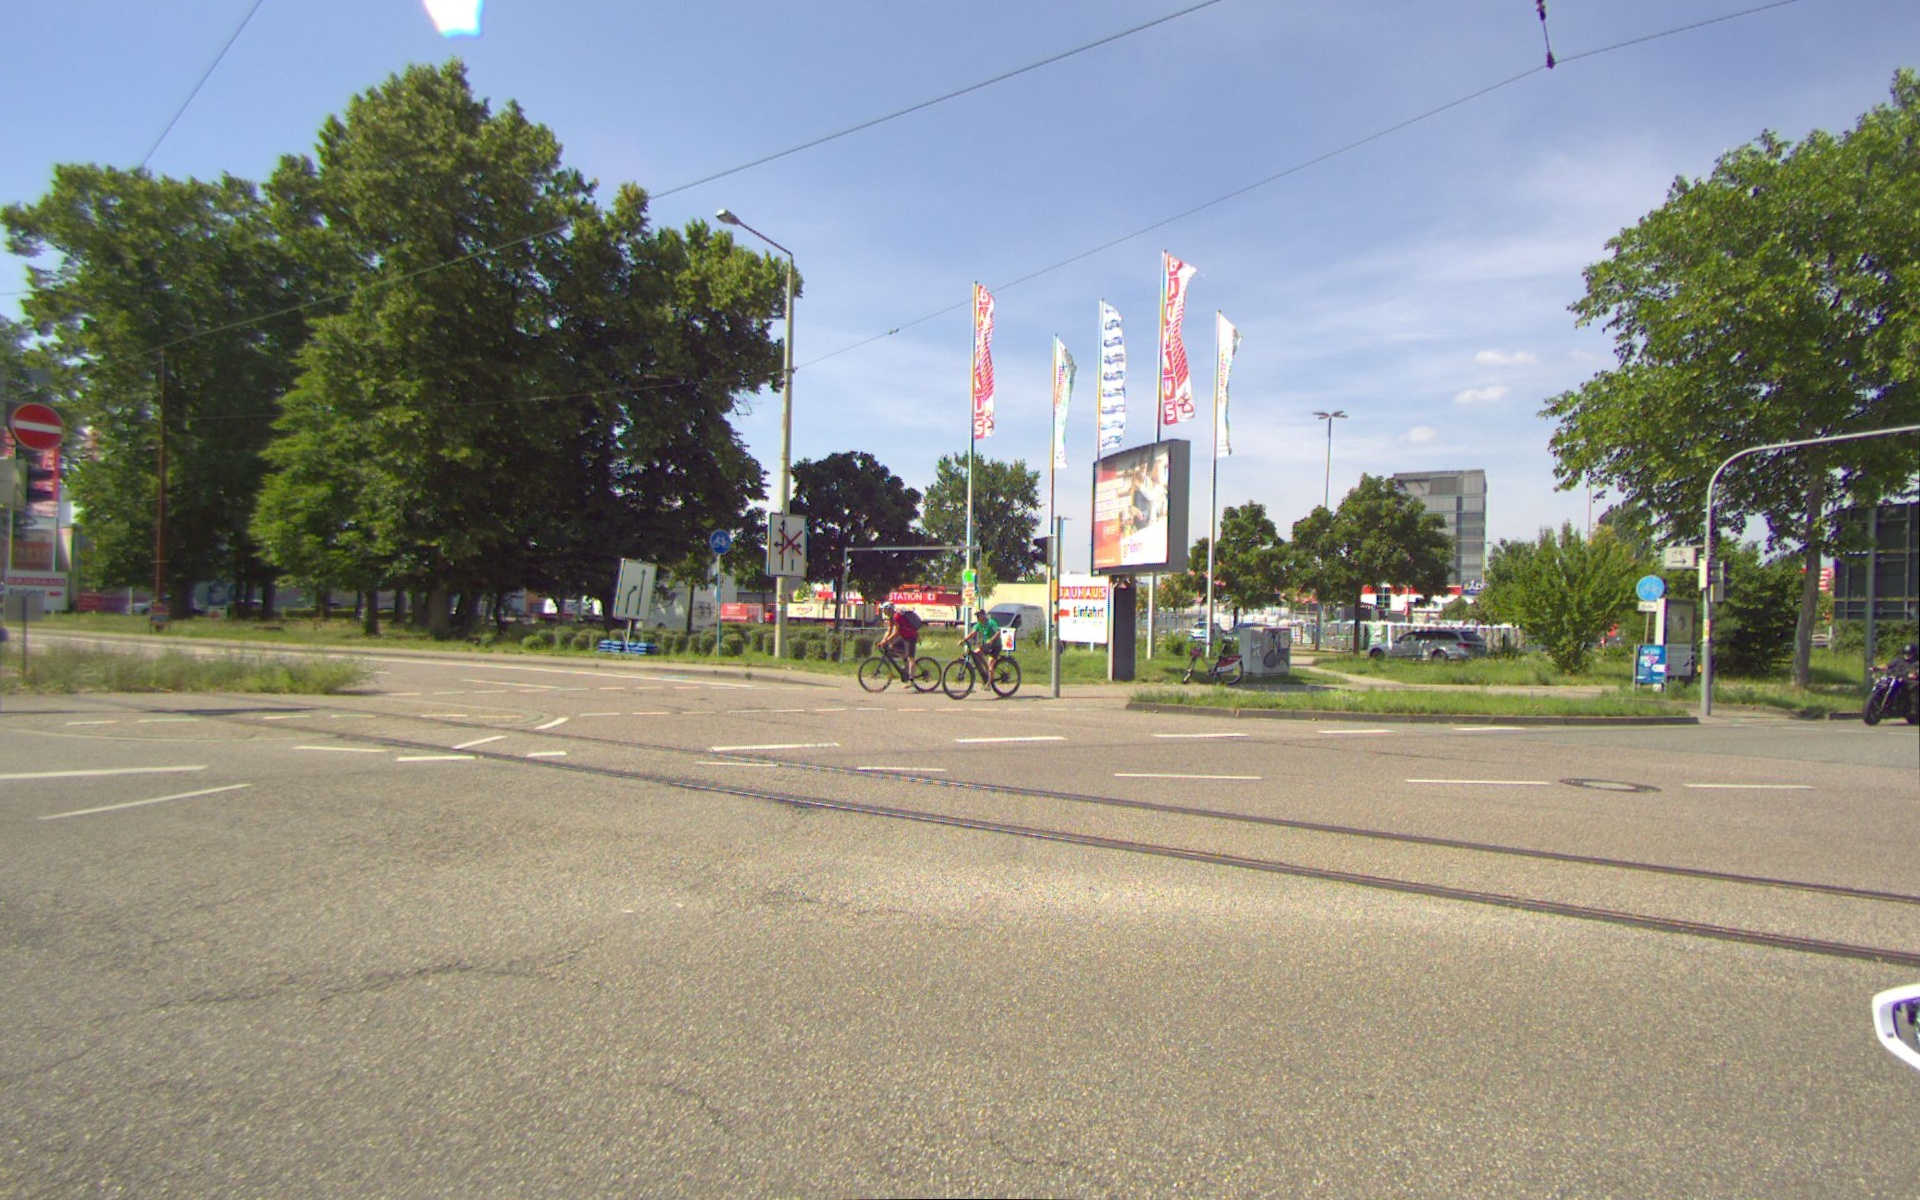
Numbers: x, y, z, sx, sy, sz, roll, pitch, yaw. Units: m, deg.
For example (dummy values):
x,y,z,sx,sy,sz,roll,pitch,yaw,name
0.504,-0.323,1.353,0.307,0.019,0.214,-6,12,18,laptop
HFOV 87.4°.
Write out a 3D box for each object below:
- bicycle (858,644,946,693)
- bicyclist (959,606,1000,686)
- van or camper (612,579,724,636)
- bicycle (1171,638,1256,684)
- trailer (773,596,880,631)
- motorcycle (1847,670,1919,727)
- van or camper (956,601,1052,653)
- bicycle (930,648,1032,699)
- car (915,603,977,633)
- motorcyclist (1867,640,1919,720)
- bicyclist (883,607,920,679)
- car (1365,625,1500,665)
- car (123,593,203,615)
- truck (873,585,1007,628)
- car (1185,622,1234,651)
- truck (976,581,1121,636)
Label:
x,y,z,sx,sy,sz,roll,pitch,yaw,name
-1.172,1.380,20.306,1.725,0.950,0.433,1,0,-21,bicycle
0.379,0.883,19.324,0.601,1.511,0.526,1,0,-25,bicyclist
-17.141,0.431,58.893,6.212,3.142,2.707,1,0,30,van or camper
5.963,1.433,23.650,1.862,1.051,0.595,1,0,-12,bicycle
-10.285,1.034,77.097,8.064,2.523,2.921,1,-1,30,trailer
18.206,1.895,19.513,2.188,1.004,0.685,1,0,-26,motorcycle
2.150,1.243,46.881,2.157,2.239,5.508,1,-1,30,van or camper
0.416,1.402,19.334,1.970,0.950,0.415,2,0,-26,bicycle
-1.178,1.609,88.702,2.347,2.563,6.424,1,-1,31,car
18.412,1.541,19.612,0.974,1.490,0.741,1,0,-26,motorcyclist
-1.180,0.871,20.320,0.600,1.433,0.527,1,0,-19,bicyclist
19.241,1.810,41.085,2.177,1.433,4.536,2,-1,-33,car
-60.430,0.324,76.250,1.842,1.585,4.373,1,-1,31,car
-1.505,0.418,72.263,9.438,2.930,2.922,1,-1,28,truck
14.739,2.110,59.202,1.788,1.593,4.274,1,-1,28,car
5.664,0.502,64.704,8.760,3.355,3.156,1,0,27,truck
